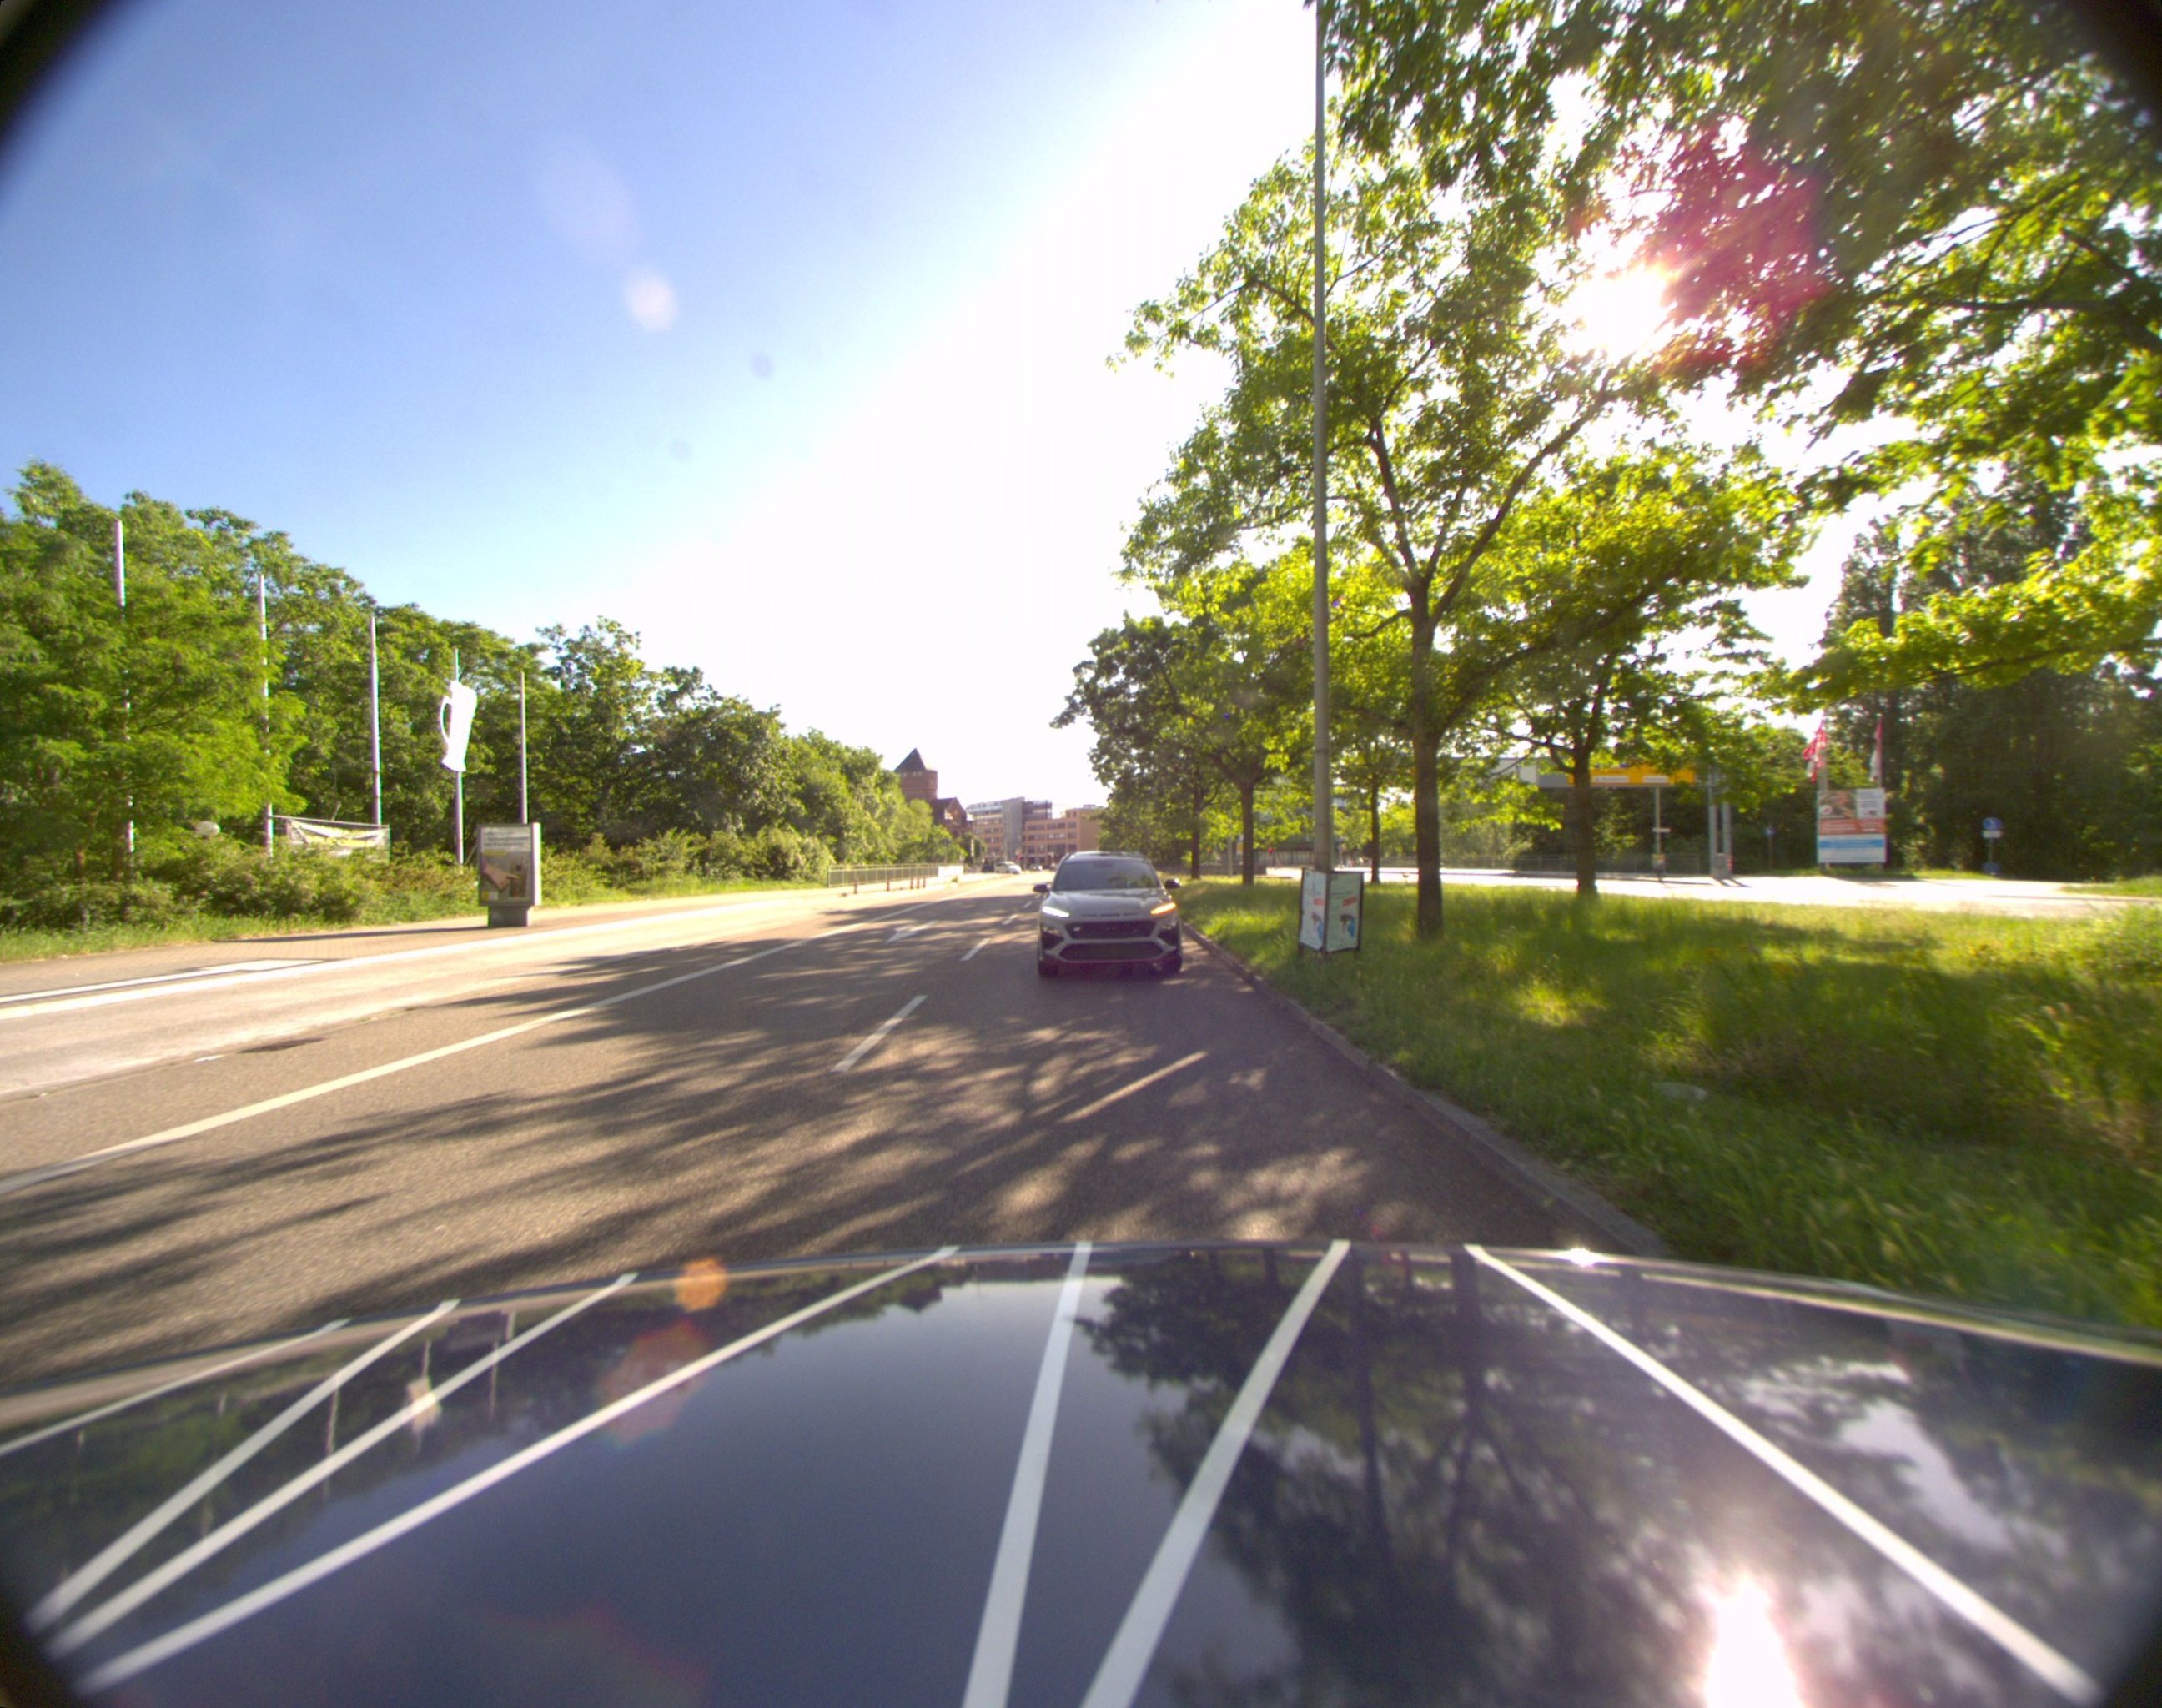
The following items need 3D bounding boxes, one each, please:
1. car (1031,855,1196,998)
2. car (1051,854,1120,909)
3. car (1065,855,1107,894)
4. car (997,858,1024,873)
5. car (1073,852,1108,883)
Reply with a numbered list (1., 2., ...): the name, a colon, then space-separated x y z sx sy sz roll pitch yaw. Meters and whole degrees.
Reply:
1. car: 0.374 0.799 10.357 1.780 1.542 3.980 -1 0 0
2. car: 0.227 0.782 23.554 1.744 1.539 4.002 -2 0 5
3. car: 0.205 0.835 32.916 1.678 1.499 3.948 -1 0 0
4. car: -9.795 1.559 105.805 1.750 1.537 3.993 5 -11 -41
5. car: 0.551 0.716 42.450 1.833 1.637 4.000 -1 0 1
